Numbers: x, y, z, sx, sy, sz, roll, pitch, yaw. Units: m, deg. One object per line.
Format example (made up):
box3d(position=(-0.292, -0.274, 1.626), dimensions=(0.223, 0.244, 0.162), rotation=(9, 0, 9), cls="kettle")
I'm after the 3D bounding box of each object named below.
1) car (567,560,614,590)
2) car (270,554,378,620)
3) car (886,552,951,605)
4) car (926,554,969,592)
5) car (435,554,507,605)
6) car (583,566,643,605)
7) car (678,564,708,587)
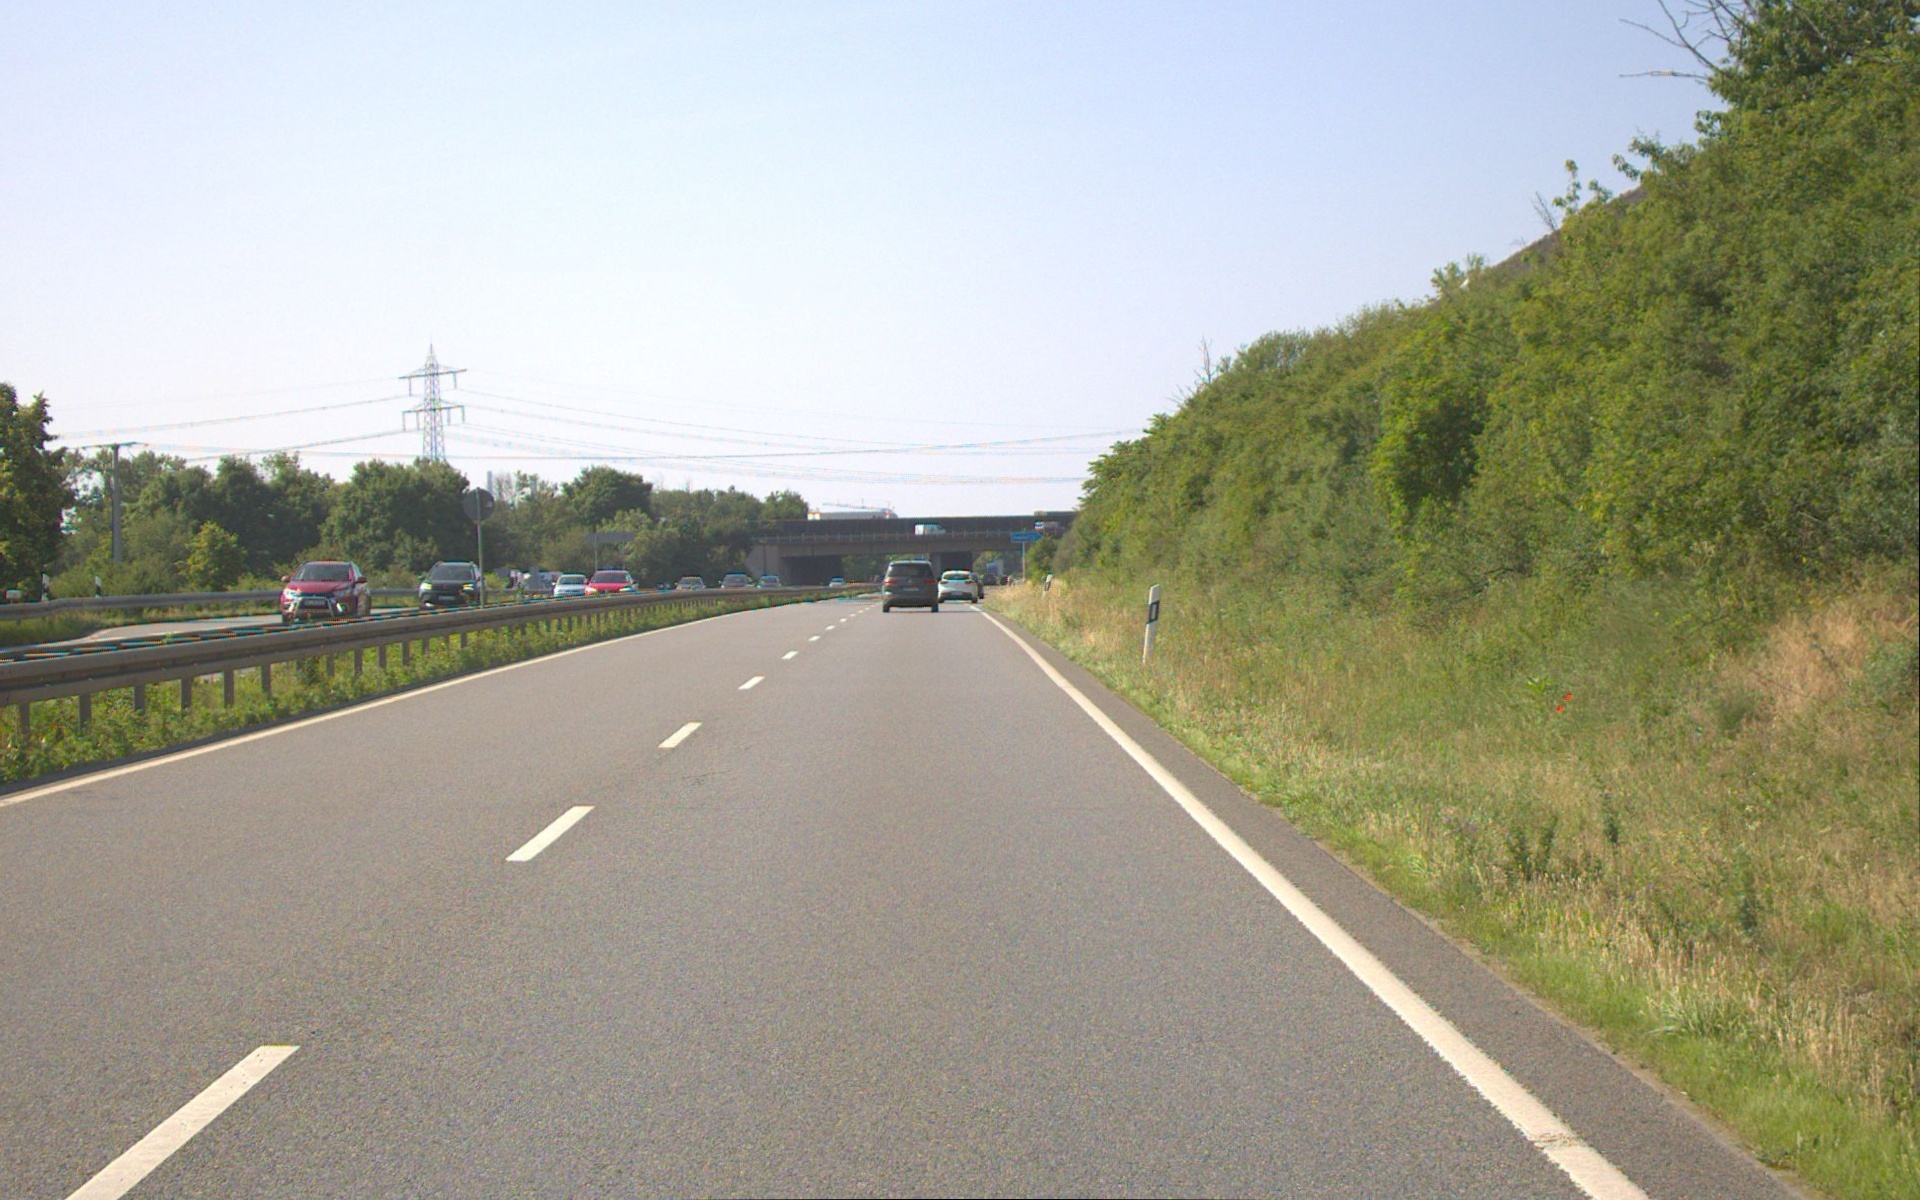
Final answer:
box3d(position=(-17.865, -1.227, 166.424), dimensions=(1.821, 1.391, 4.415), rotation=(1, 1, 0), cls="car")
box3d(position=(-15.980, -0.352, 86.606), dimensions=(1.843, 1.587, 4.774), rotation=(1, 1, 0), cls="car")
box3d(position=(-1.299, -0.669, 109.301), dimensions=(1.850, 1.639, 4.000), rotation=(-1, 0, 2), cls="car")
box3d(position=(-0.549, -1.231, 154.684), dimensions=(1.796, 1.659, 4.000), rotation=(1, 1, 2), cls="car")
box3d(position=(-15.468, -0.660, 108.983), dimensions=(1.726, 1.590, 4.221), rotation=(0, 1, 0), cls="car")
box3d(position=(-13.443, -0.586, 133.366), dimensions=(1.876, 1.488, 5.095), rotation=(0, 0, -1), cls="car")
box3d(position=(-17.421, -1.612, 224.481), dimensions=(1.713, 1.445, 4.324), rotation=(-1, 1, -2), cls="car")
